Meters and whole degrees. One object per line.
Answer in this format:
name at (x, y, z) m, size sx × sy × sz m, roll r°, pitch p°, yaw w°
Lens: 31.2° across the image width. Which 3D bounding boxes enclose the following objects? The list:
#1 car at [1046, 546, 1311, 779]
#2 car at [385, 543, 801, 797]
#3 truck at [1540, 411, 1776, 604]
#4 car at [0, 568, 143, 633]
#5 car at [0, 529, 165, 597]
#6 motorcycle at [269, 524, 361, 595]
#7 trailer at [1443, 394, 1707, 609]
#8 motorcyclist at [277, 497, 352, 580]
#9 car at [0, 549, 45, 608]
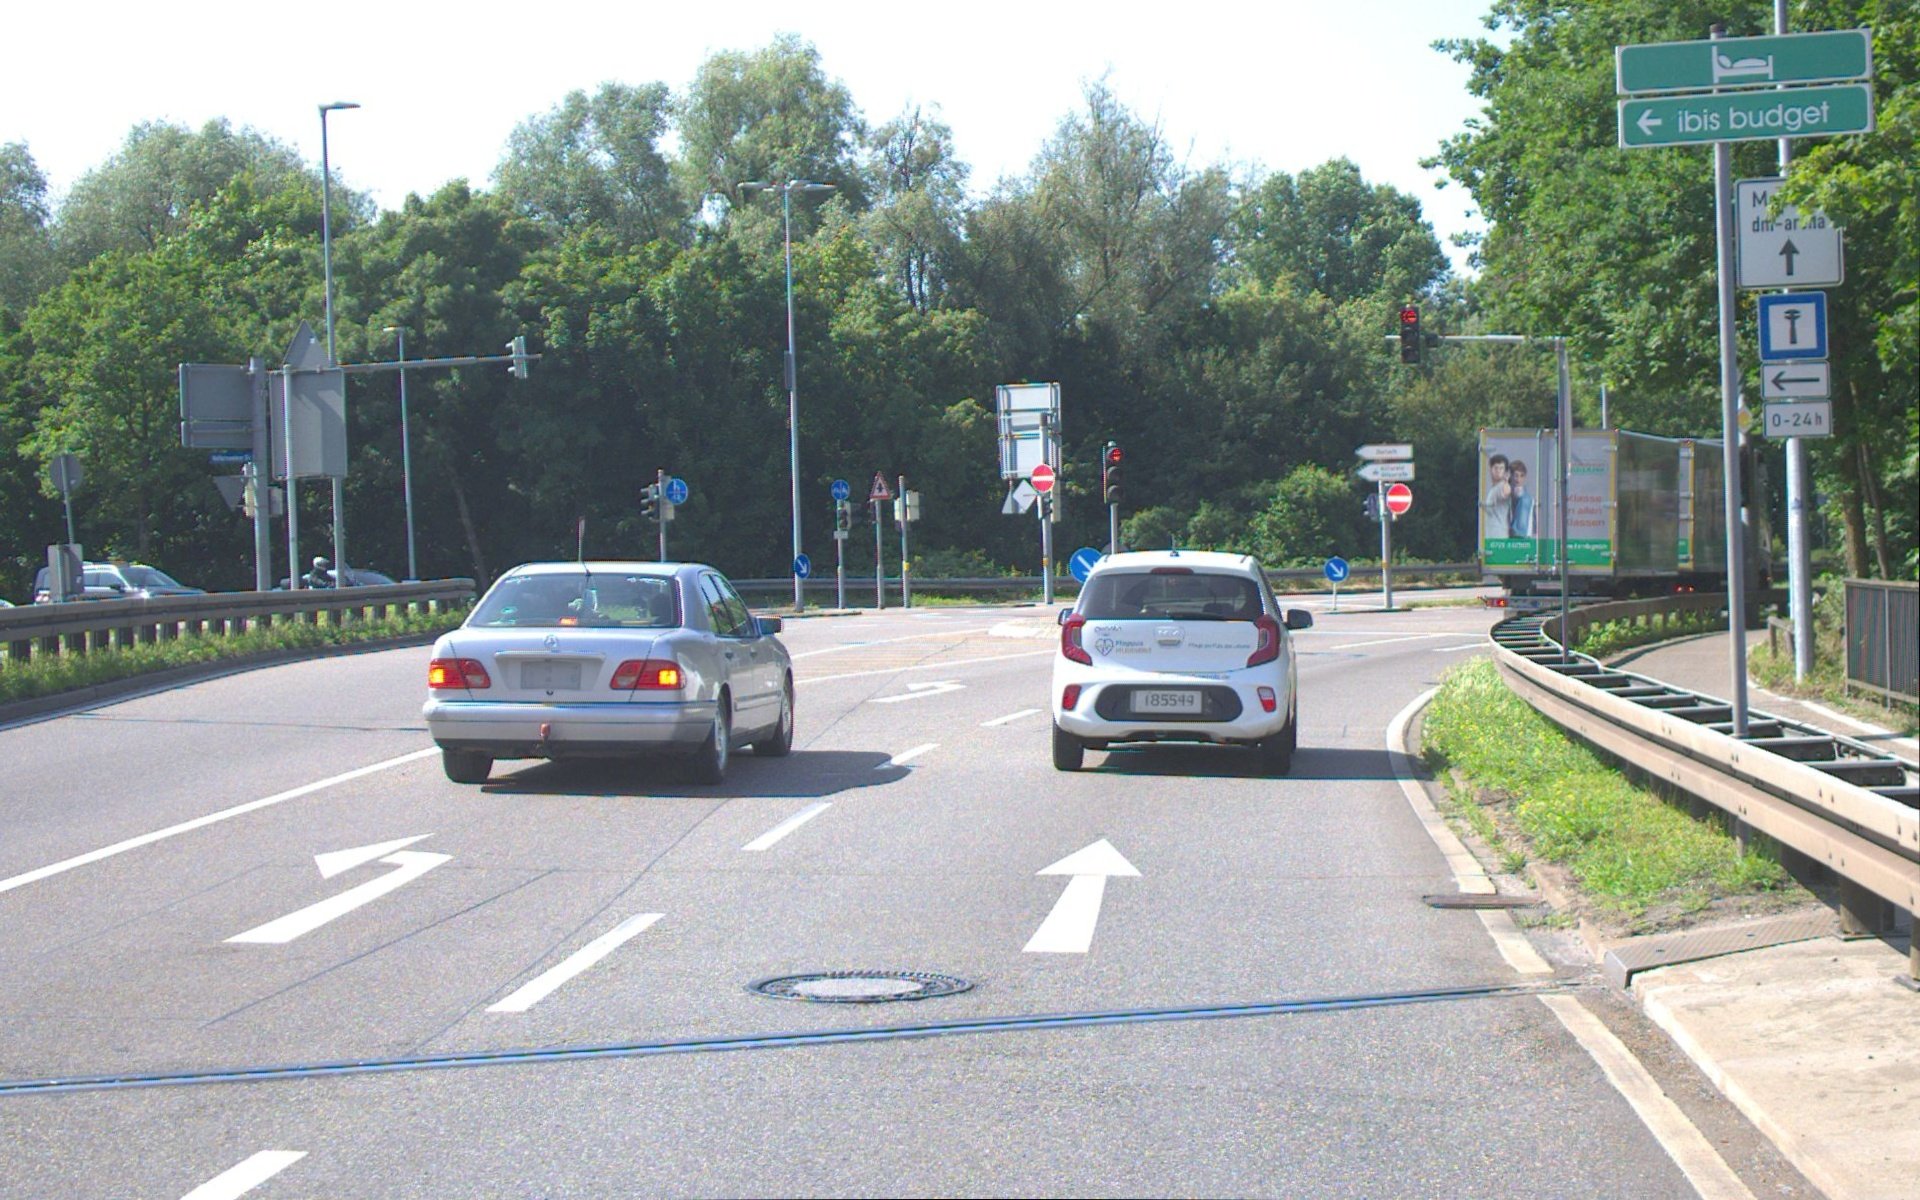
car at (1.596, 0.379, 24.444) m, size 1.702 × 1.489 × 3.999 m, roll 1°, pitch 1°, yaw 5°
car at (-2.300, 0.373, 22.892) m, size 1.939 × 1.481 × 4.900 m, roll 0°, pitch 1°, yaw 4°
truck at (14.853, -1.911, 72.623) m, size 3.264 × 3.745 × 8.361 m, roll 2°, pitch 2°, yaw 22°
car at (-22.124, 0.031, 83.849) m, size 3.994 × 1.384 × 2.119 m, roll -4°, pitch -3°, yaw 35°
car at (-21.268, -0.864, 83.028) m, size 3.994 × 1.384 × 1.764 m, roll -4°, pitch -3°, yaw 35°
motorcycle at (-15.140, -0.942, 80.667) m, size 1.980 × 1.524 × 0.897 m, roll -4°, pitch -2°, yaw 32°
trailer at (11.774, -1.822, 65.164) m, size 3.228 × 3.745 × 7.815 m, roll 2°, pitch 2°, yaw 22°
motorcyclist at (-15.156, -1.437, 80.704) m, size 1.462 × 1.864 × 0.891 m, roll -3°, pitch -2°, yaw 32°
car at (-25.439, -0.487, 87.359) m, size 3.994 × 1.384 × 2.119 m, roll -4°, pitch -3°, yaw 35°
